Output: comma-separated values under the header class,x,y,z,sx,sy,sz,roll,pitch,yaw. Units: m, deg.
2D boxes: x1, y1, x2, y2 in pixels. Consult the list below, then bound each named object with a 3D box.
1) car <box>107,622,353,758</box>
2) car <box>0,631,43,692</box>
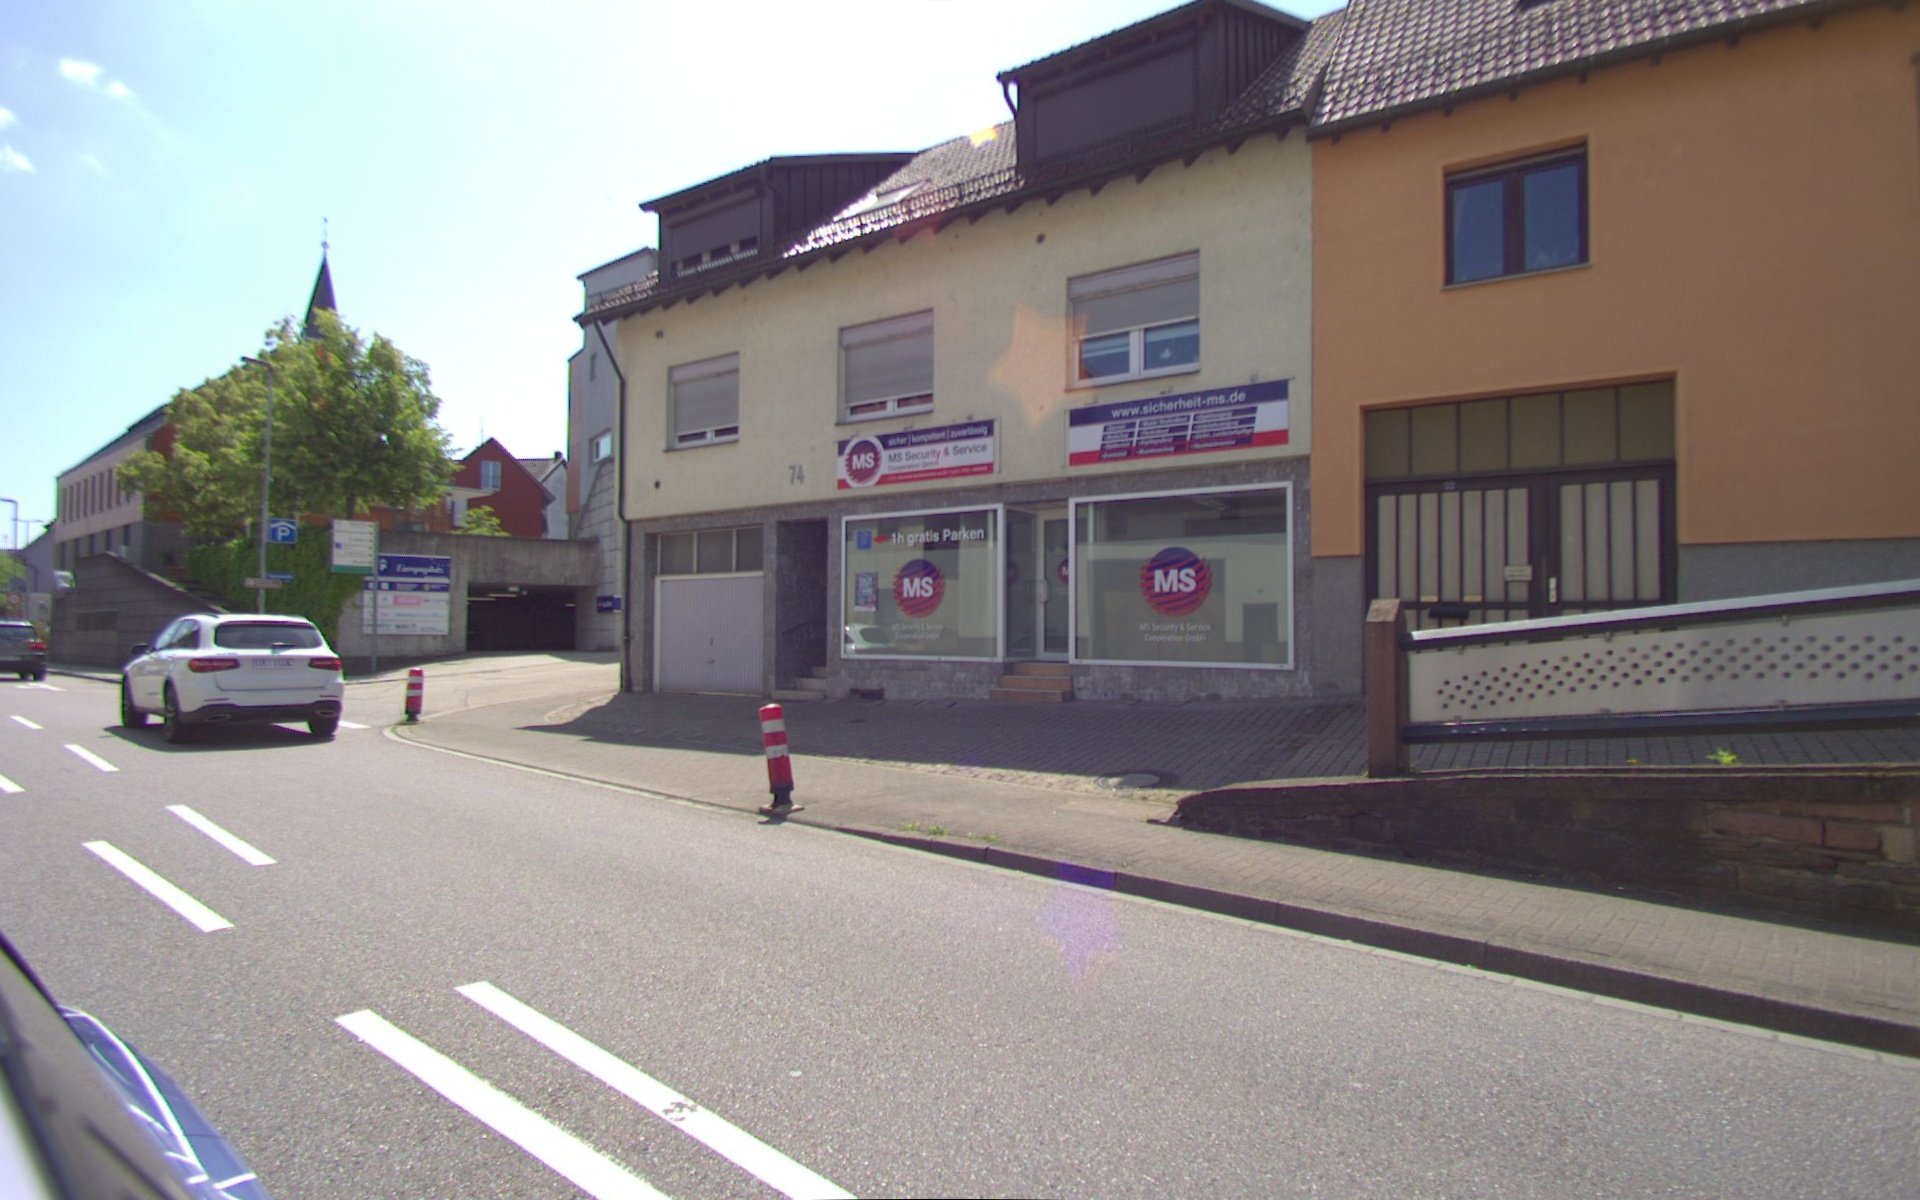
class,x,y,z,sx,sy,sz,roll,pitch,yaw
car,-10.243,1.155,14.069,4.444,1.592,1.823,-2,-4,42
car,-27.428,1.709,28.615,4.047,1.648,1.739,-2,-4,42
